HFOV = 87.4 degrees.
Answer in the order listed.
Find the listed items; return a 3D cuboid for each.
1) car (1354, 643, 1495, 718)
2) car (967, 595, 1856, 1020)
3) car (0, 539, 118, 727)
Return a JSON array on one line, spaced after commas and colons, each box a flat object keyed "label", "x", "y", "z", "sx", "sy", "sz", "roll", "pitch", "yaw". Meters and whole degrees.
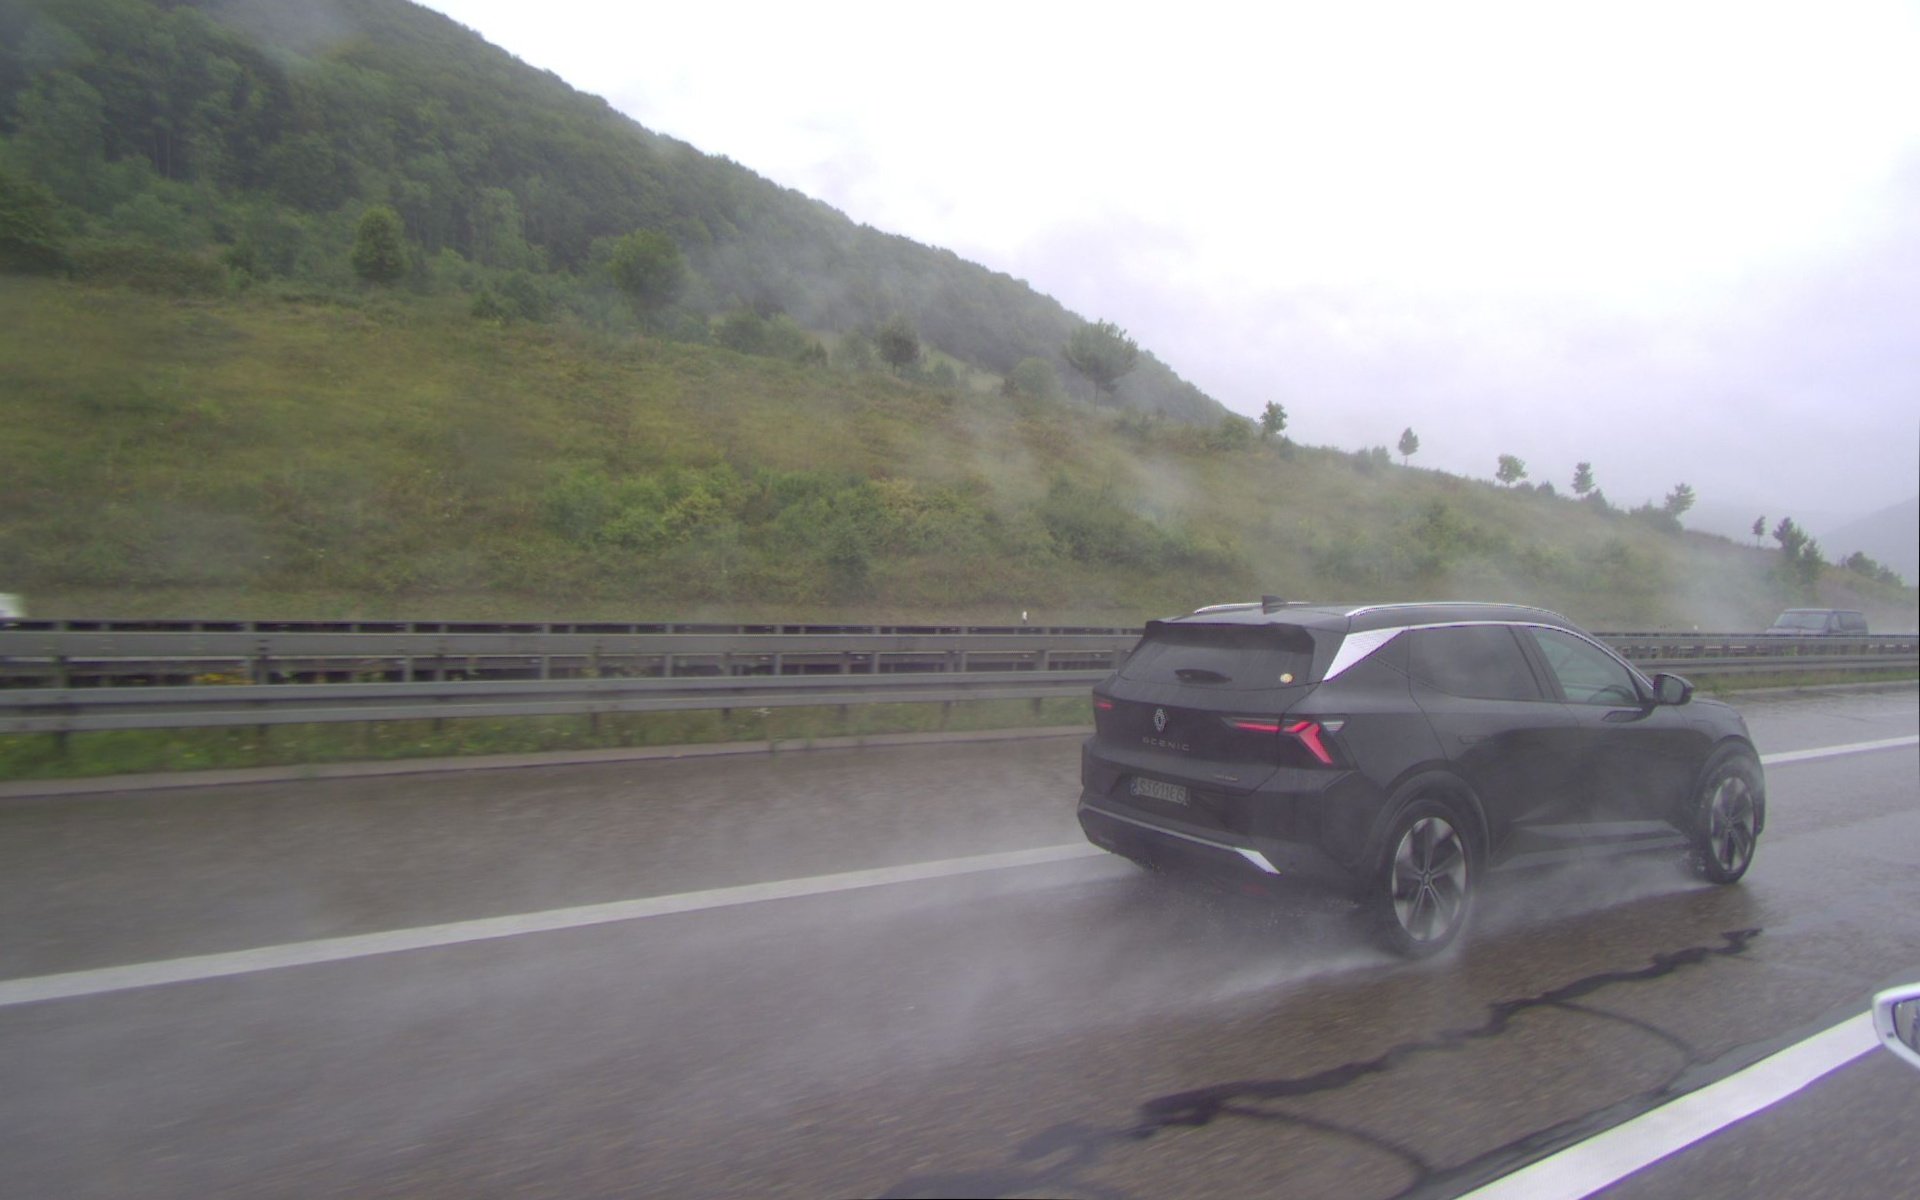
[{"label": "car", "x": 13.473, "y": 2.266, "z": 29.103, "sx": 3.953, "sy": 1.932, "sz": 1.781, "roll": 1, "pitch": 0, "yaw": -30}, {"label": "car", "x": 2.677, "y": 0.789, "z": 5.844, "sx": 4.726, "sy": 1.535, "sz": 2.395, "roll": 1, "pitch": 0, "yaw": -29}, {"label": "car", "x": -12.720, "y": 0.324, "z": 10.757, "sx": 5.323, "sy": 2.040, "sz": 1.985, "roll": 1, "pitch": -1, "yaw": -29}]
